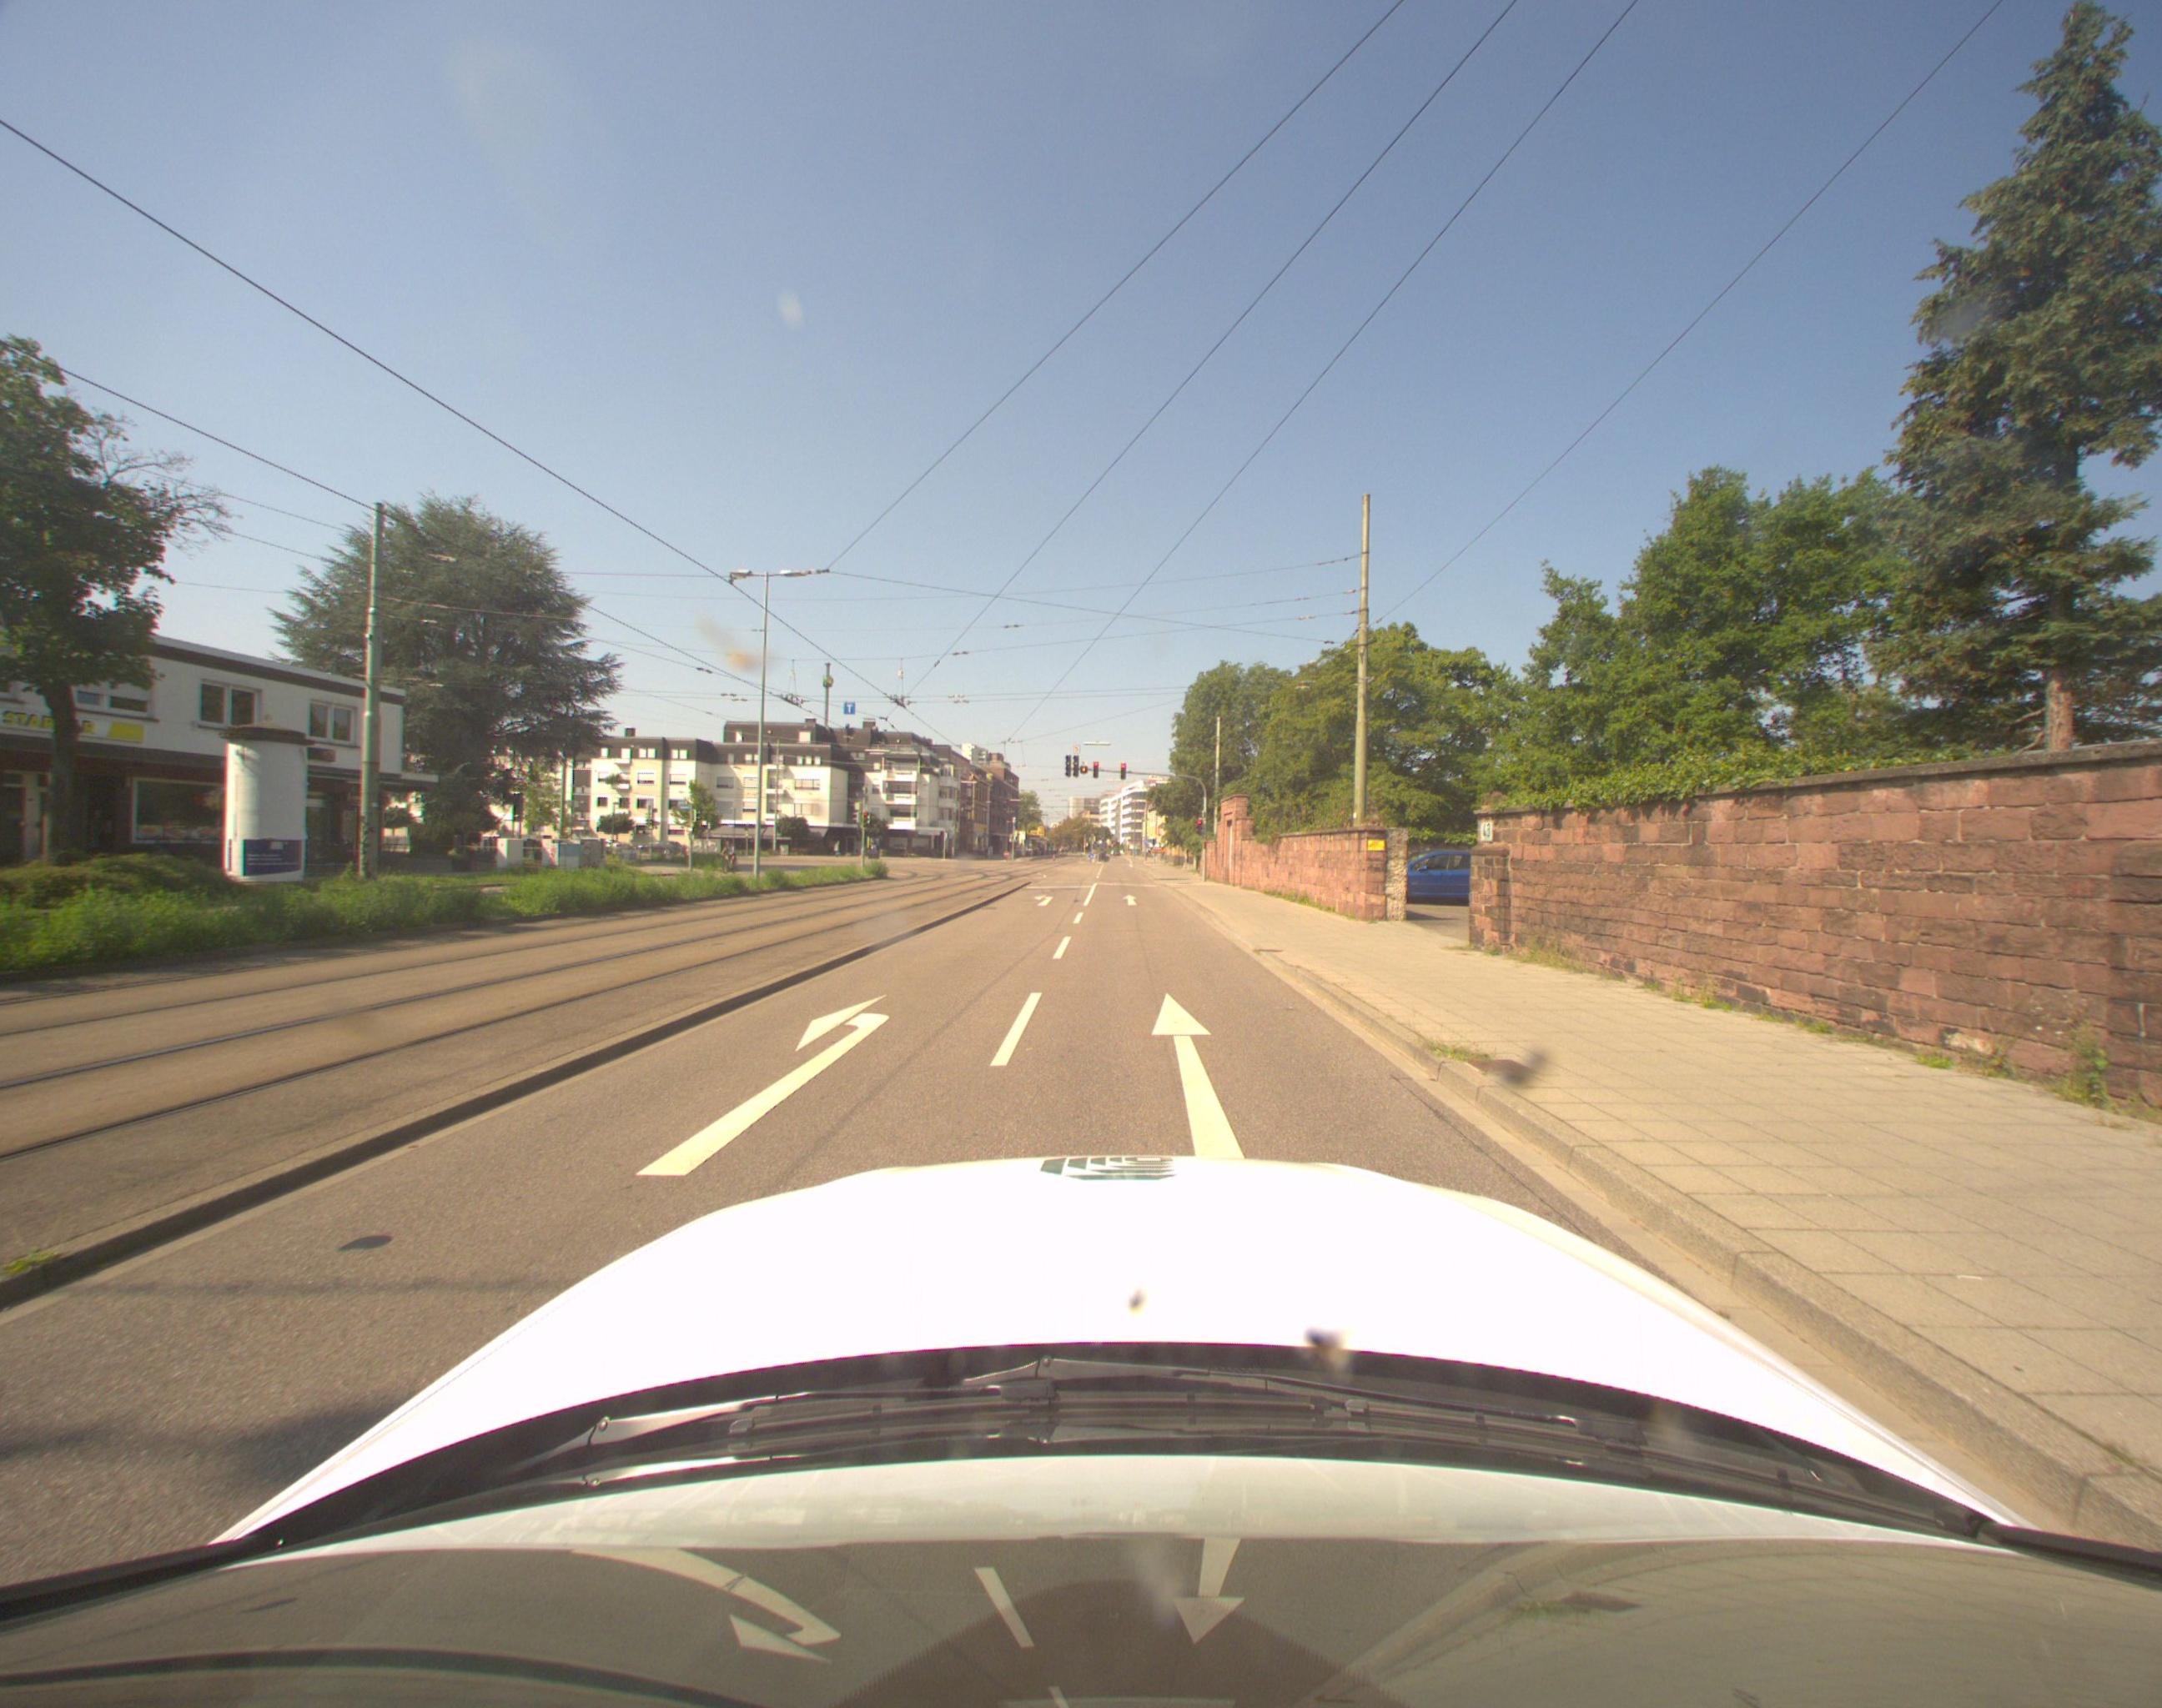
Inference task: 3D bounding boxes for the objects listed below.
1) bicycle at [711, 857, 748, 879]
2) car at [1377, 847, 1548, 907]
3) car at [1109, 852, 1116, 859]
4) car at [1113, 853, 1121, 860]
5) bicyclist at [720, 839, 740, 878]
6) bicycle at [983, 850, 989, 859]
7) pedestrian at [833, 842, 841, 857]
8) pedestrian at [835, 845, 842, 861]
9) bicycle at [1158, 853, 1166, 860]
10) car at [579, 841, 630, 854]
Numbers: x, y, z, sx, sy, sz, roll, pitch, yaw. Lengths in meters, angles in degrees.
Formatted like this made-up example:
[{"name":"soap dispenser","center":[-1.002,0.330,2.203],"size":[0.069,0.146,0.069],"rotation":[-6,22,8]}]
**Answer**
[{"name":"bicycle","center":[-18.409,0.717,42.713],"size":[0.711,1.091,2.269],"rotation":[0,0,7]},{"name":"car","center":[10.576,0.613,22.781],"size":[3.953,1.464,1.778],"rotation":[2,1,1]},{"name":"car","center":[8.704,0.490,224.543],"size":[2.002,1.859,4.004],"rotation":[0,0,3]},{"name":"car","center":[9.773,0.744,218.450],"size":[2.002,1.859,4.004],"rotation":[0,0,3]},{"name":"bicyclist","center":[-18.421,0.232,42.724],"size":[0.634,2.064,0.776],"rotation":[0,0,6]},{"name":"bicycle","center":[-13.222,0.106,113.116],"size":[0.573,1.179,2.206],"rotation":[0,0,-2]},{"name":"pedestrian","center":[-27.557,-0.496,91.863],"size":[0.676,1.741,0.698],"rotation":[0,0,3]},{"name":"pedestrian","center":[-26.103,-0.085,87.640],"size":[0.602,1.745,0.560],"rotation":[0,0,-31]},{"name":"bicycle","center":[12.808,0.437,128.785],"size":[0.730,1.132,2.835],"rotation":[-2,0,-5]},{"name":"car","center":[-47.846,-0.649,81.757],"size":[4.094,1.299,1.673],"rotation":[0,0,1]}]
